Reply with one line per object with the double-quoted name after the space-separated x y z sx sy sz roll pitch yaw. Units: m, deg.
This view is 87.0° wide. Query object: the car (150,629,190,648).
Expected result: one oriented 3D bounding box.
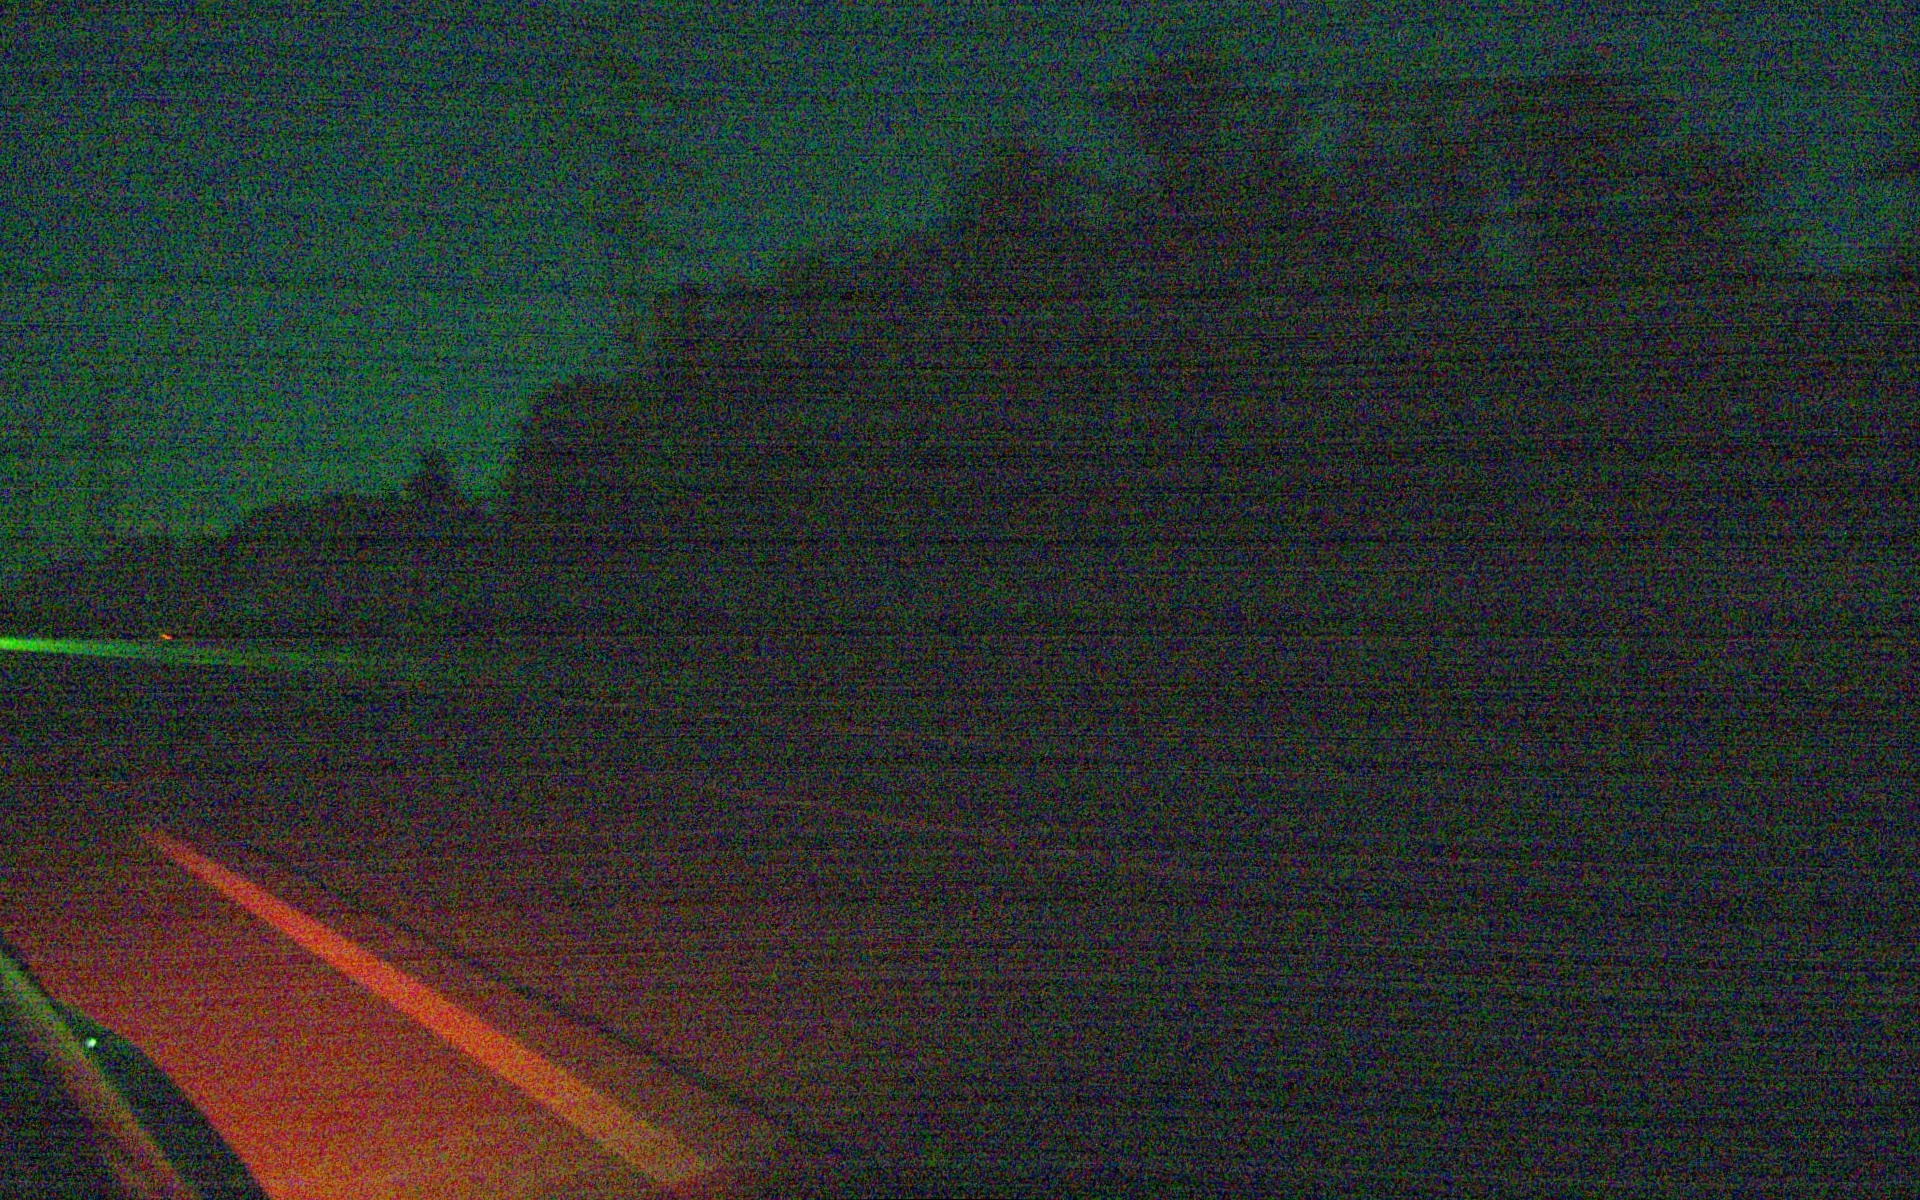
-71.753 3.470 91.906 4.698 1.658 1.879 -2 -2 39 "car"
